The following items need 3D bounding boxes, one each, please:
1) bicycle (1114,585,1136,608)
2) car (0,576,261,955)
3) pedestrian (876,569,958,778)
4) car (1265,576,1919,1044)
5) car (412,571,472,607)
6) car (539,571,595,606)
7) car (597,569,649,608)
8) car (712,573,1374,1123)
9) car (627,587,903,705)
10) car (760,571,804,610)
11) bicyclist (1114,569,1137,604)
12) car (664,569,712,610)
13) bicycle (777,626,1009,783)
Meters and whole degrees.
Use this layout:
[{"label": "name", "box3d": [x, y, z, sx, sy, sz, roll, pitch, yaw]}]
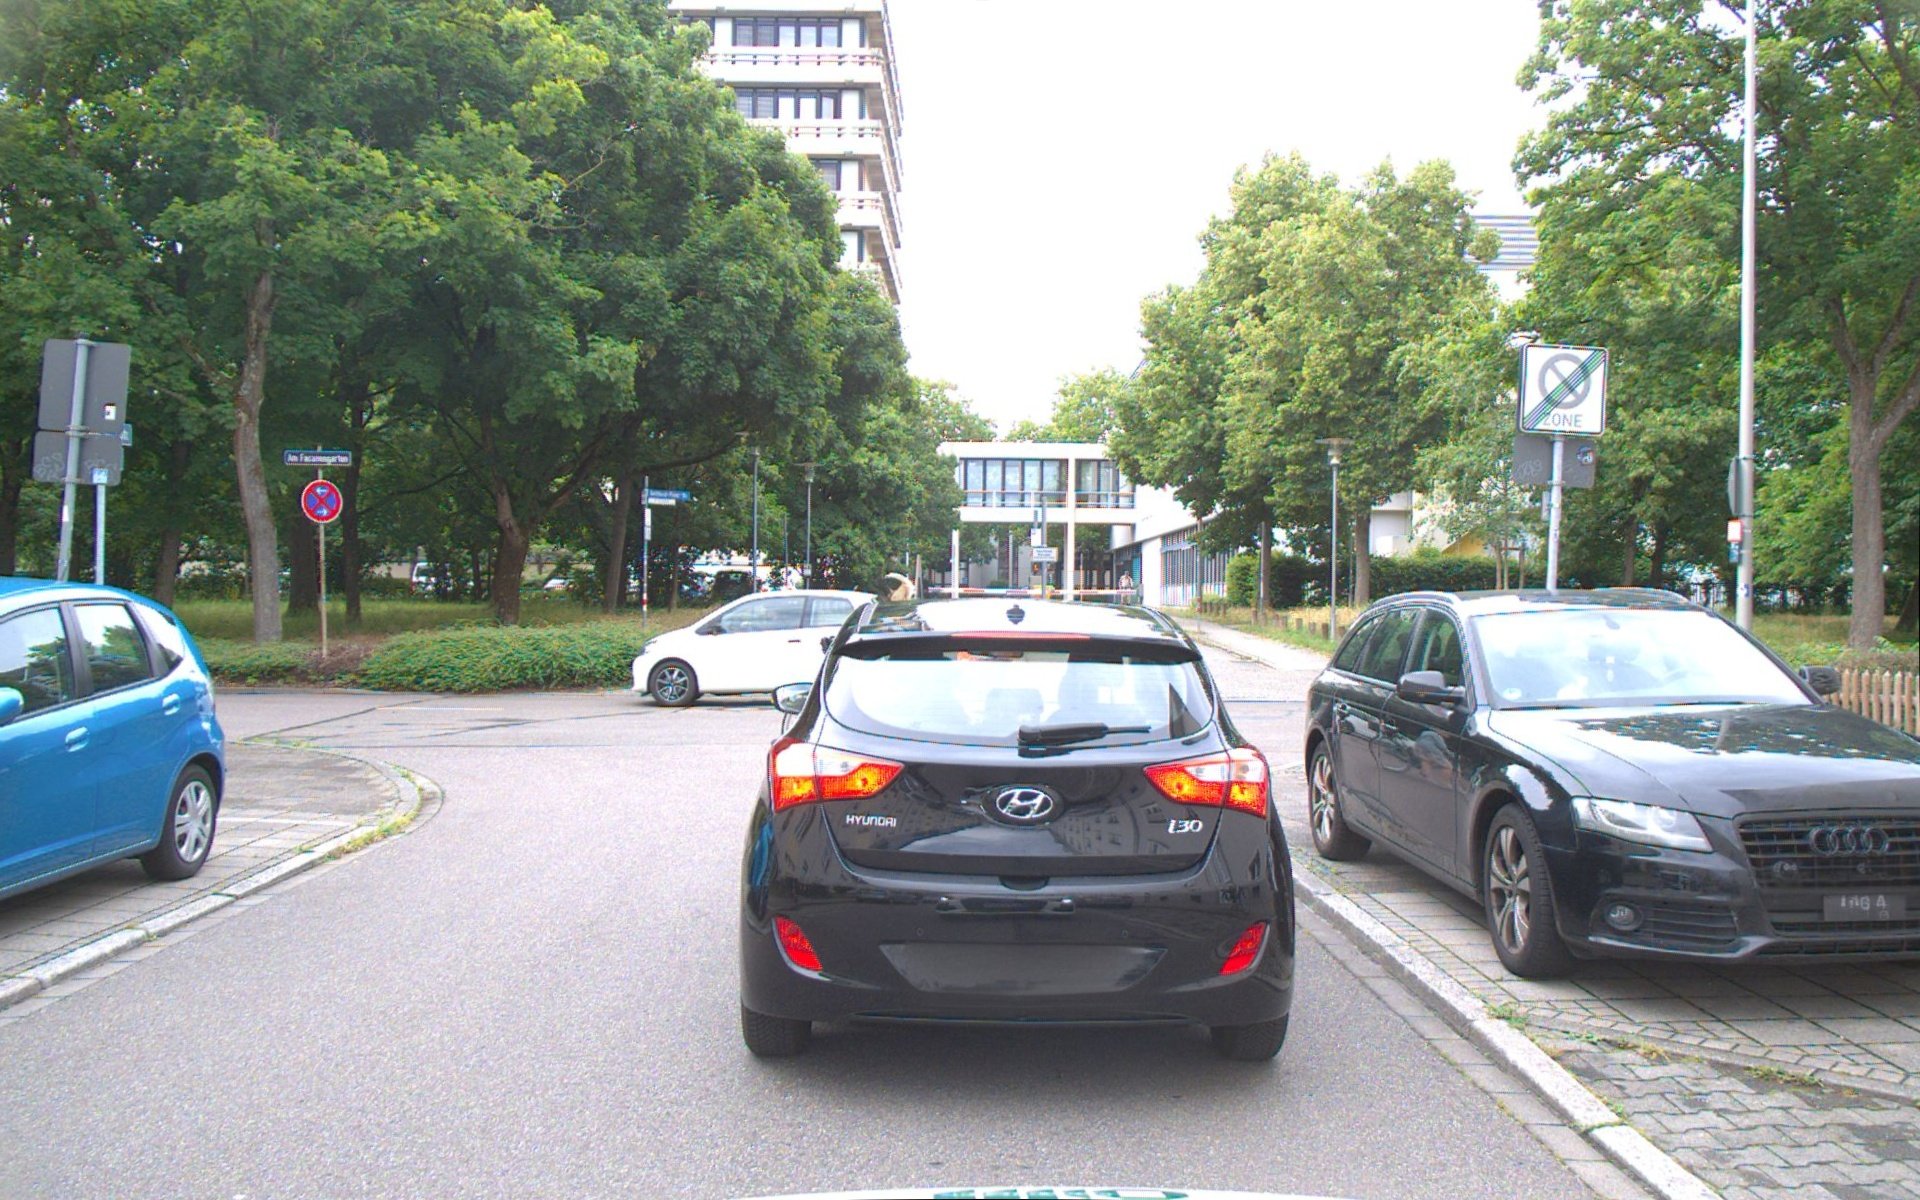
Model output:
[{"label": "bicycle", "box3d": [7.993, -0.188, 80.055, 0.849, 1.093, 2.142, 0, 1, 0]}, {"label": "car", "box3d": [-4.743, 0.658, 7.235, 1.695, 1.488, 3.956, 3, 1, -1]}, {"label": "pedestrian", "box3d": [-0.342, 0.558, 12.873, 0.555, 1.576, 0.447, -2, 1, -8]}, {"label": "car", "box3d": [2.872, 0.644, 7.706, 1.823, 1.488, 4.723, -1, 1, -3]}, {"label": "car", "box3d": [-24.799, -0.537, 79.347, 1.880, 1.646, 3.996, 0, 0, -5]}, {"label": "car", "box3d": [-18.714, -0.559, 78.904, 1.954, 1.646, 3.996, 0, 0, -5]}, {"label": "car", "box3d": [-16.047, -0.527, 78.872, 1.954, 1.758, 3.996, 0, -1, -5]}, {"label": "car", "box3d": [0.144, 0.677, 6.445, 1.809, 1.488, 3.825, 1, 0, -3]}, {"label": "car", "box3d": [-2.488, 0.581, 21.673, 3.461, 1.462, 1.566, 0, 1, -3]}, {"label": "car", "box3d": [-8.506, -0.430, 79.368, 1.954, 1.792, 3.996, 0, 0, -5]}, {"label": "bicyclist", "box3d": [8.007, -0.643, 80.155, 0.996, 1.673, 0.923, 0, 1, 0]}, {"label": "car", "box3d": [-13.008, -0.488, 79.243, 1.954, 1.825, 3.996, 0, -1, -5]}, {"label": "bicycle", "box3d": [-0.542, 0.813, 13.223, 1.779, 1.139, 0.537, -2, 1, -9]}]
